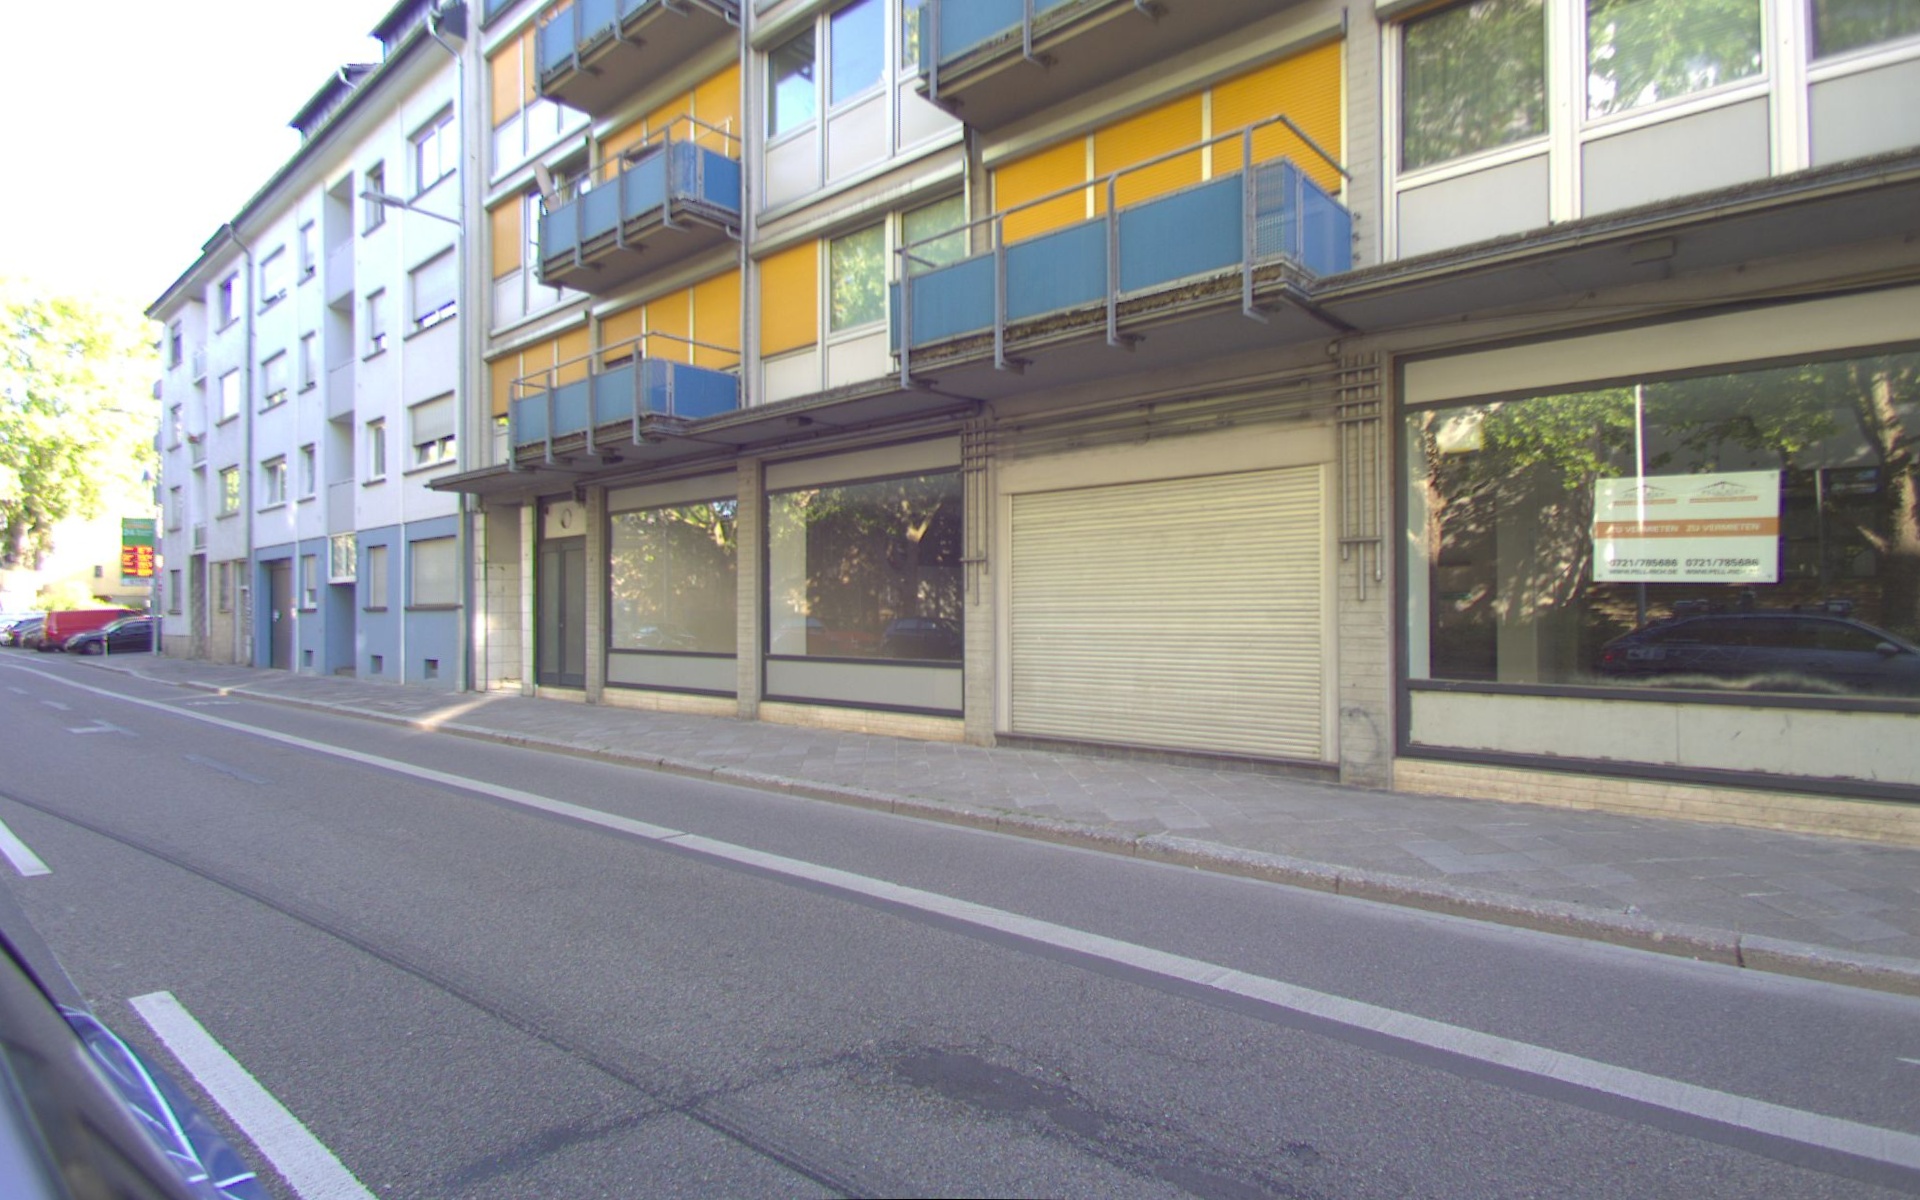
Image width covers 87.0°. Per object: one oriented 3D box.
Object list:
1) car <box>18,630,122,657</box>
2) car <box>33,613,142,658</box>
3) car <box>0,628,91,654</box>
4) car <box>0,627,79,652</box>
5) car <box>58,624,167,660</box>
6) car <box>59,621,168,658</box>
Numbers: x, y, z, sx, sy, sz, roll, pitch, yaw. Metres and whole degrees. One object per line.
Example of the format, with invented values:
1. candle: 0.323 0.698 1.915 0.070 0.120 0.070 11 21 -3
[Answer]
1. car: -42.819 2.065 48.741 1.345 1.137 3.638 -1 0 43
2. car: -40.657 1.640 47.227 1.488 1.923 3.642 -4 -2 39
3. car: -50.451 2.233 55.878 1.345 1.254 3.638 -1 0 43
4. car: -52.265 2.240 57.507 1.345 1.254 3.228 -1 0 43
5. car: -36.681 1.803 43.847 1.490 1.398 3.462 -1 0 43
6. car: -38.197 1.760 45.727 1.490 1.523 3.638 -1 0 43
